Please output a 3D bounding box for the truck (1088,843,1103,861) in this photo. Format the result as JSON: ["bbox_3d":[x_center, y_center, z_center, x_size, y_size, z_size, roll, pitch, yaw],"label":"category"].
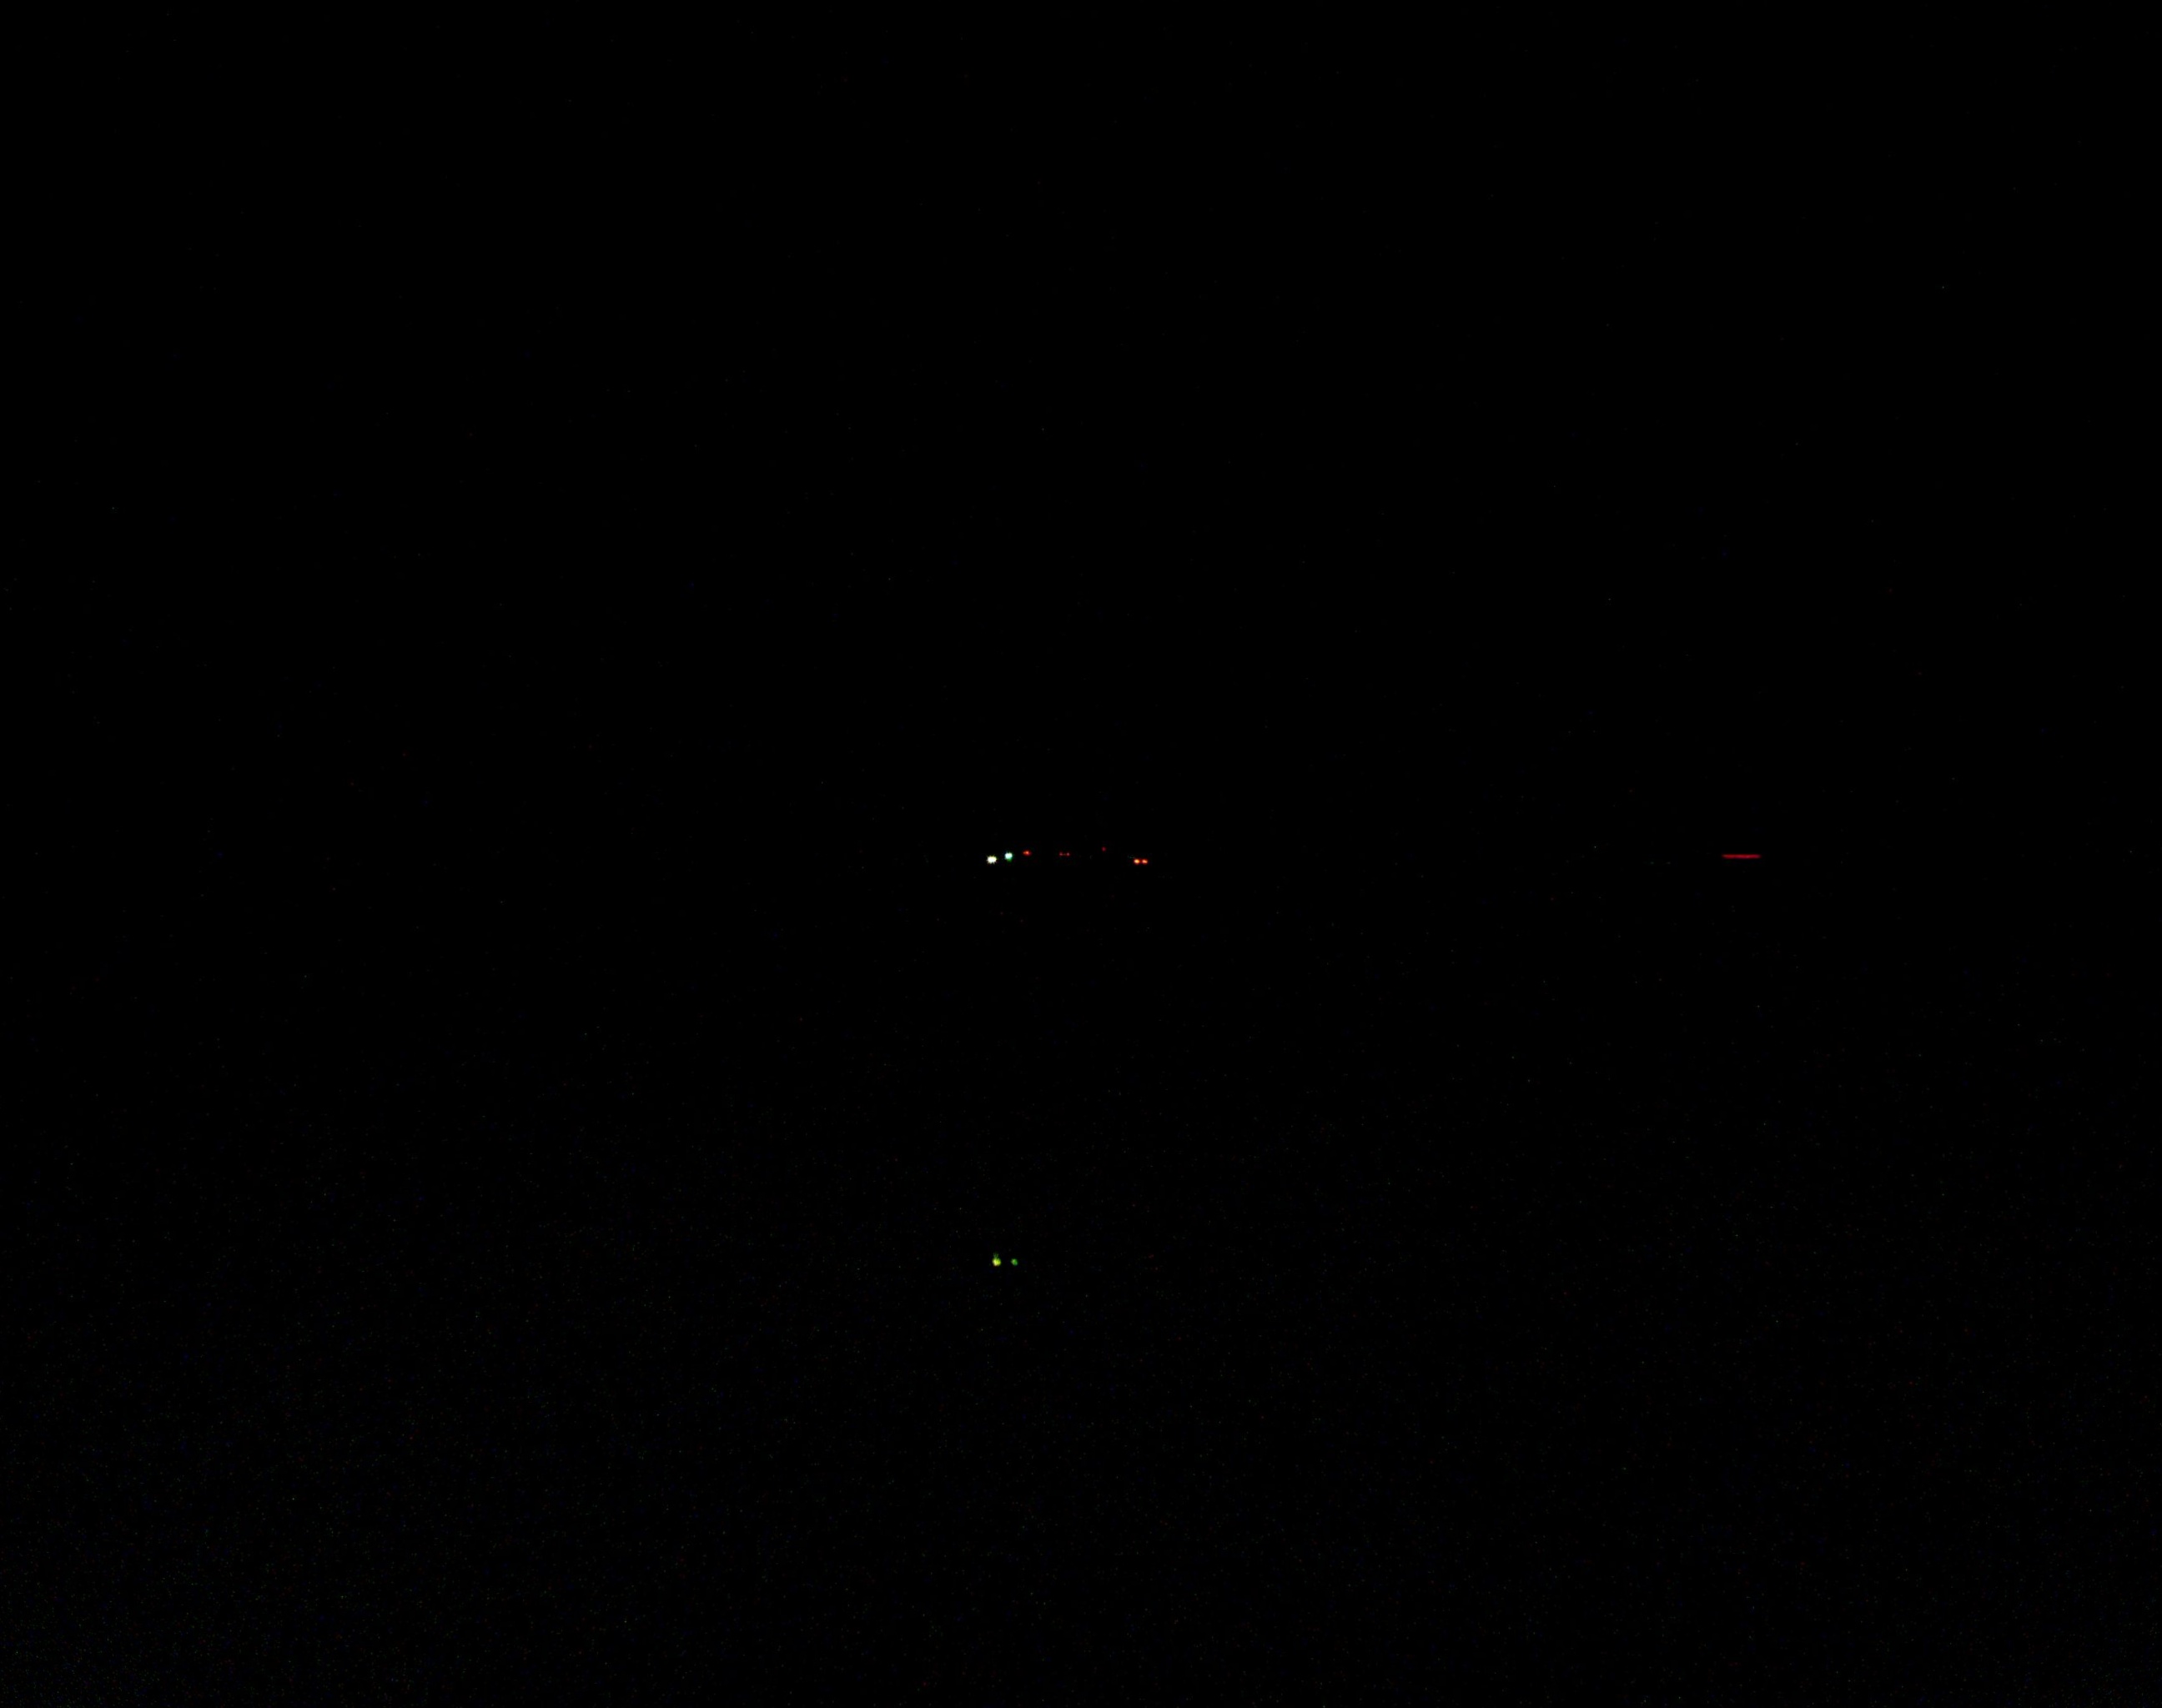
[{"bbox_3d":[3.431,-0.491,181.778,2.781,4.119,6.670,-1,0,-5],"label":"truck"}]

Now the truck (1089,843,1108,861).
[{"bbox_3d":[3.968,-0.478,175.456,2.754,4.103,13.901,-1,0,-5],"label":"truck"}]

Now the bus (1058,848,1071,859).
[{"bbox_3d":[-5.085,-0.094,228.927,2.794,3.092,12.510,-1,0,-6],"label":"bus"}]

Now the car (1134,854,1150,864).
[{"bbox_3d":[9.544,0.751,119.004,1.999,1.548,4.294,-1,0,-3],"label":"car"}]
